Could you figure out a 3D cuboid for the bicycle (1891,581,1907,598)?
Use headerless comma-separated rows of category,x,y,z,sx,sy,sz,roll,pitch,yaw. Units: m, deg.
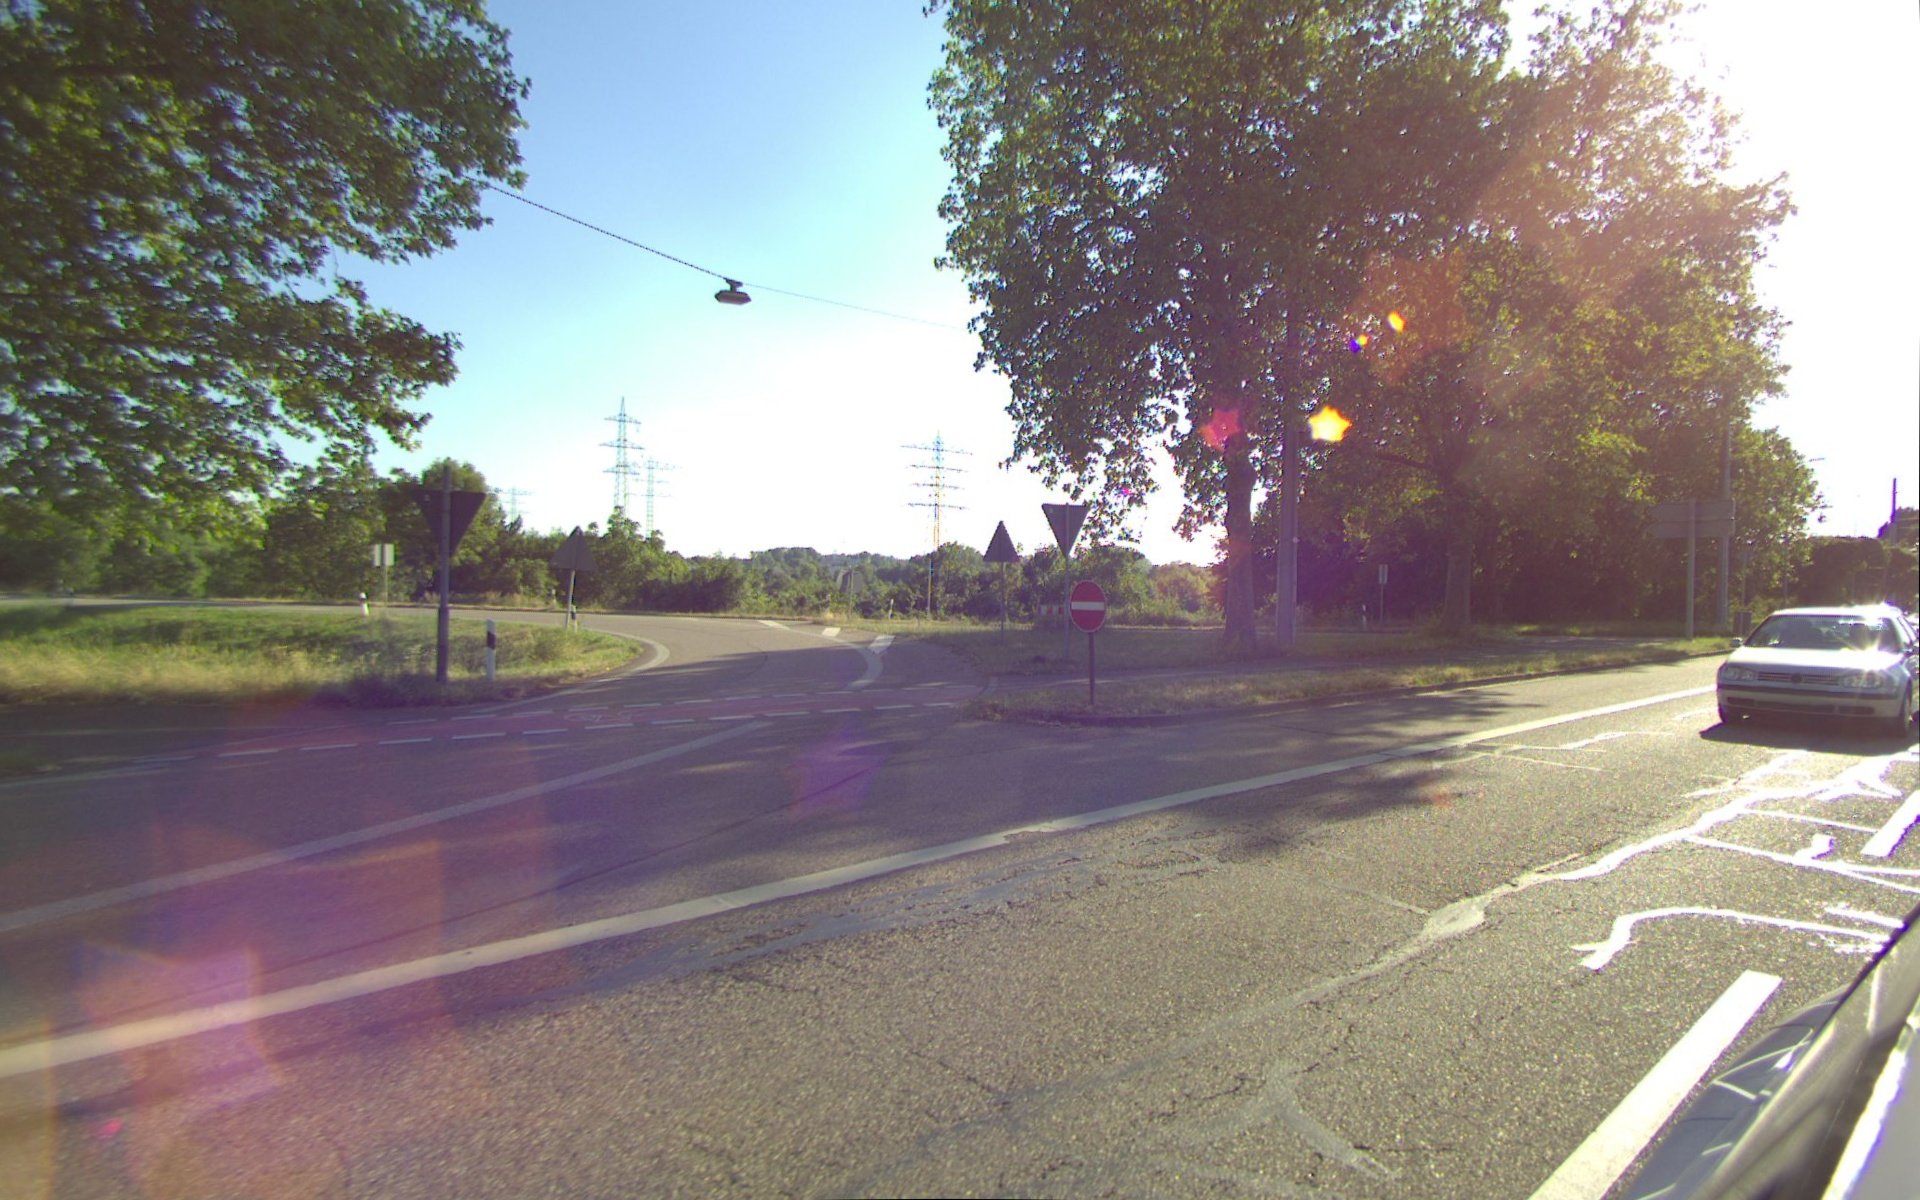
bicycle,61.159,-0.681,65.916,1.936,1.074,0.528,1,-1,-40

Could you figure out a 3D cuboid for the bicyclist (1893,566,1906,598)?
bicyclist,61.364,-1.170,66.098,0.716,2.043,0.528,0,-1,-40

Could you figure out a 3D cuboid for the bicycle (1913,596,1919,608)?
bicycle,70.175,0.127,73.894,1.605,0.844,0.629,0,5,-39

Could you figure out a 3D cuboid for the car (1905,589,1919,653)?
car,26.549,0.535,26.673,4.338,1.620,1.880,0,1,-40

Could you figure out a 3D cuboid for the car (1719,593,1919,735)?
car,10.998,0.661,12.551,3.930,1.463,1.694,0,1,-40

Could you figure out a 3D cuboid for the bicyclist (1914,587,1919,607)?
bicyclist,70.338,-0.208,74.000,1.041,1.488,0.629,0,4,-38

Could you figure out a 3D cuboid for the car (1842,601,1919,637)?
car,41.334,0.802,45.413,4.575,1.461,1.881,0,1,-39
